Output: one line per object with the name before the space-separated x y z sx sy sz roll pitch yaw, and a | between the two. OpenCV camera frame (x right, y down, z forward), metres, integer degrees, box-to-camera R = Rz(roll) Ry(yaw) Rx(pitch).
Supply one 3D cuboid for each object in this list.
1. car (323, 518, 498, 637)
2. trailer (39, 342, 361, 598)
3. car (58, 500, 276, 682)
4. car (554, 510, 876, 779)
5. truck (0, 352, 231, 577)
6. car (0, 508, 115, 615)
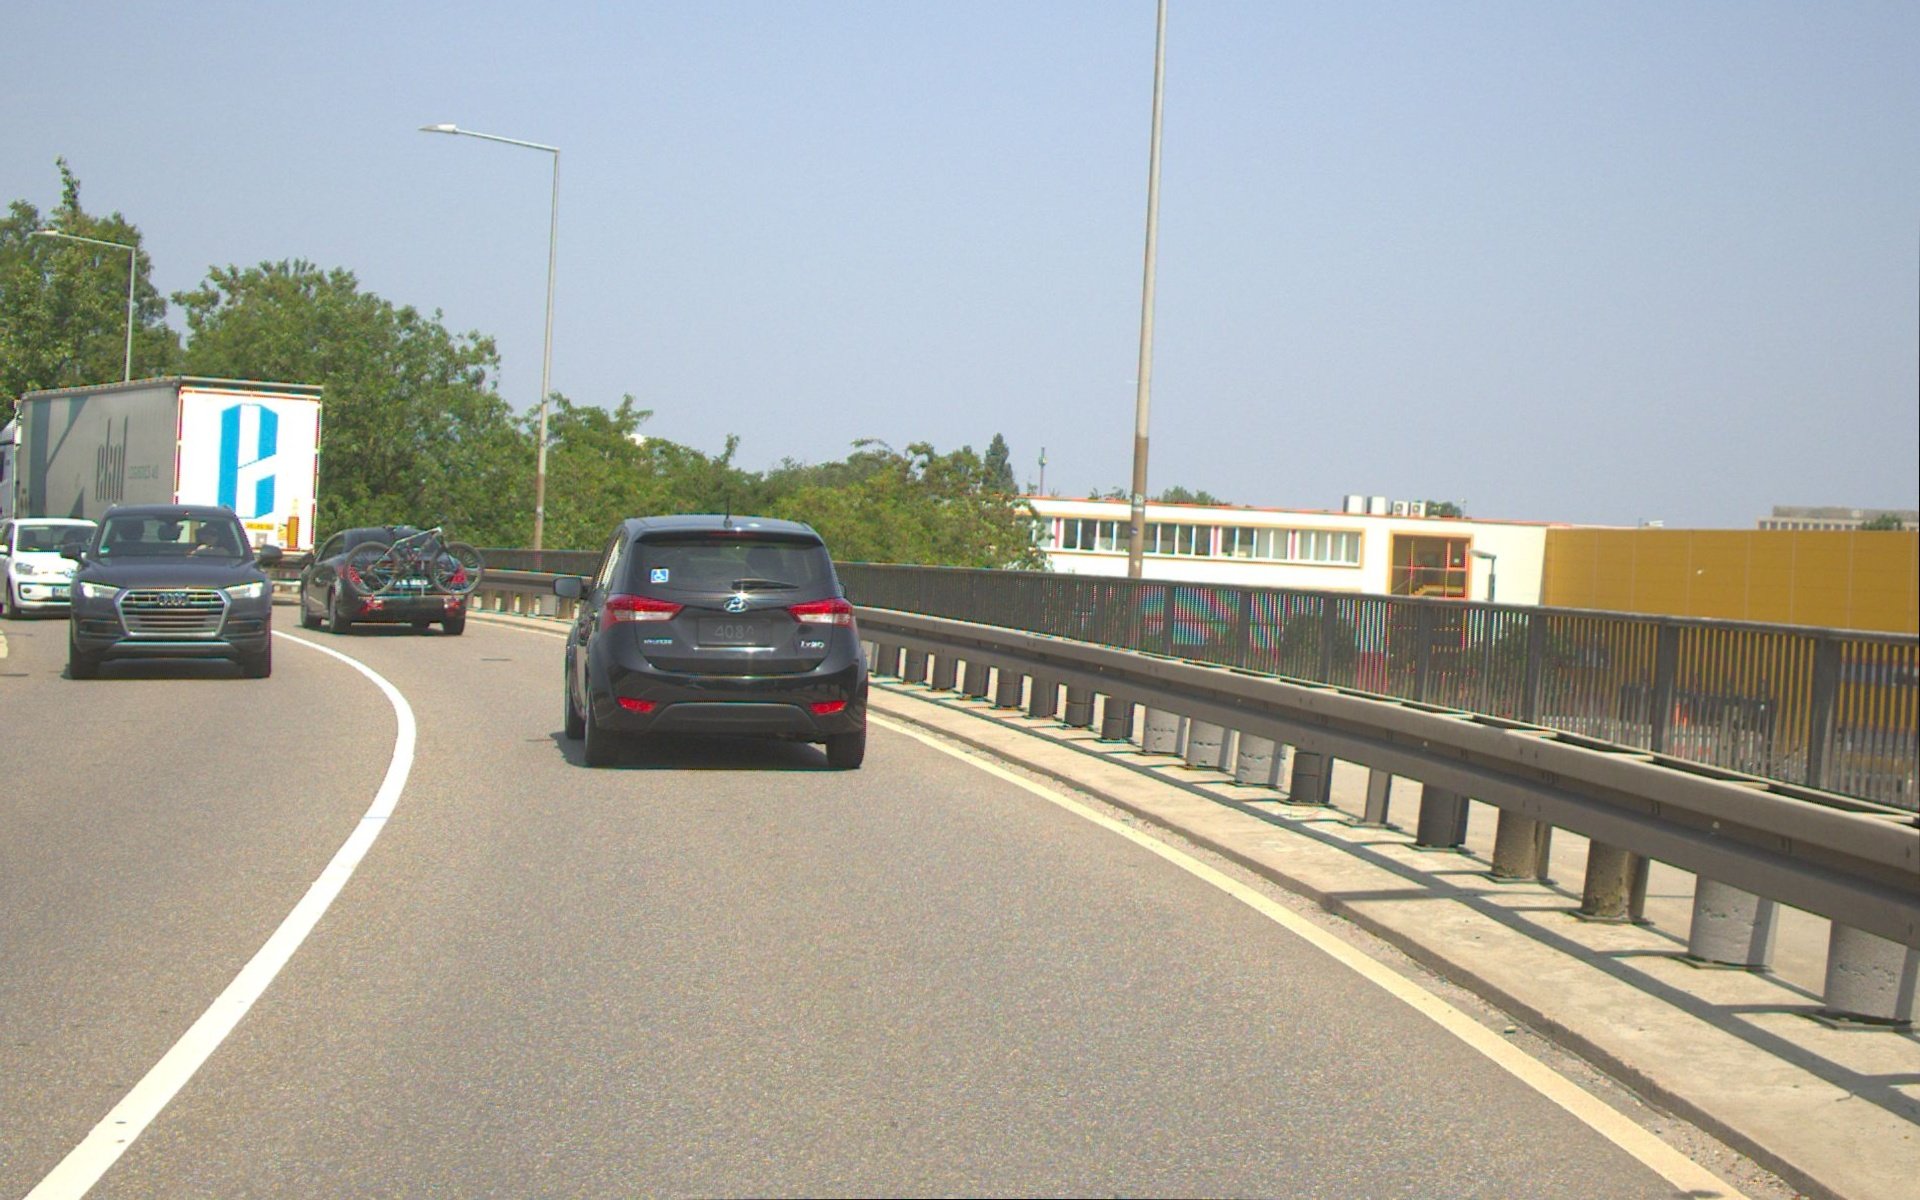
car | -7.382 -0.326 45.919 2.011 1.424 3.778 1 2 -13
trailer | -14.633 -2.464 65.237 3.569 4.369 11.444 1 2 -25
car | -7.822 -0.143 33.666 1.841 1.630 4.235 0 2 -16
car | -1.694 0.225 22.891 1.921 1.568 3.892 1 2 -6
truck | -17.969 -2.837 72.309 3.572 4.425 6.517 1 2 -26
car | -13.429 -0.591 50.910 1.664 1.459 3.488 1 2 -15
